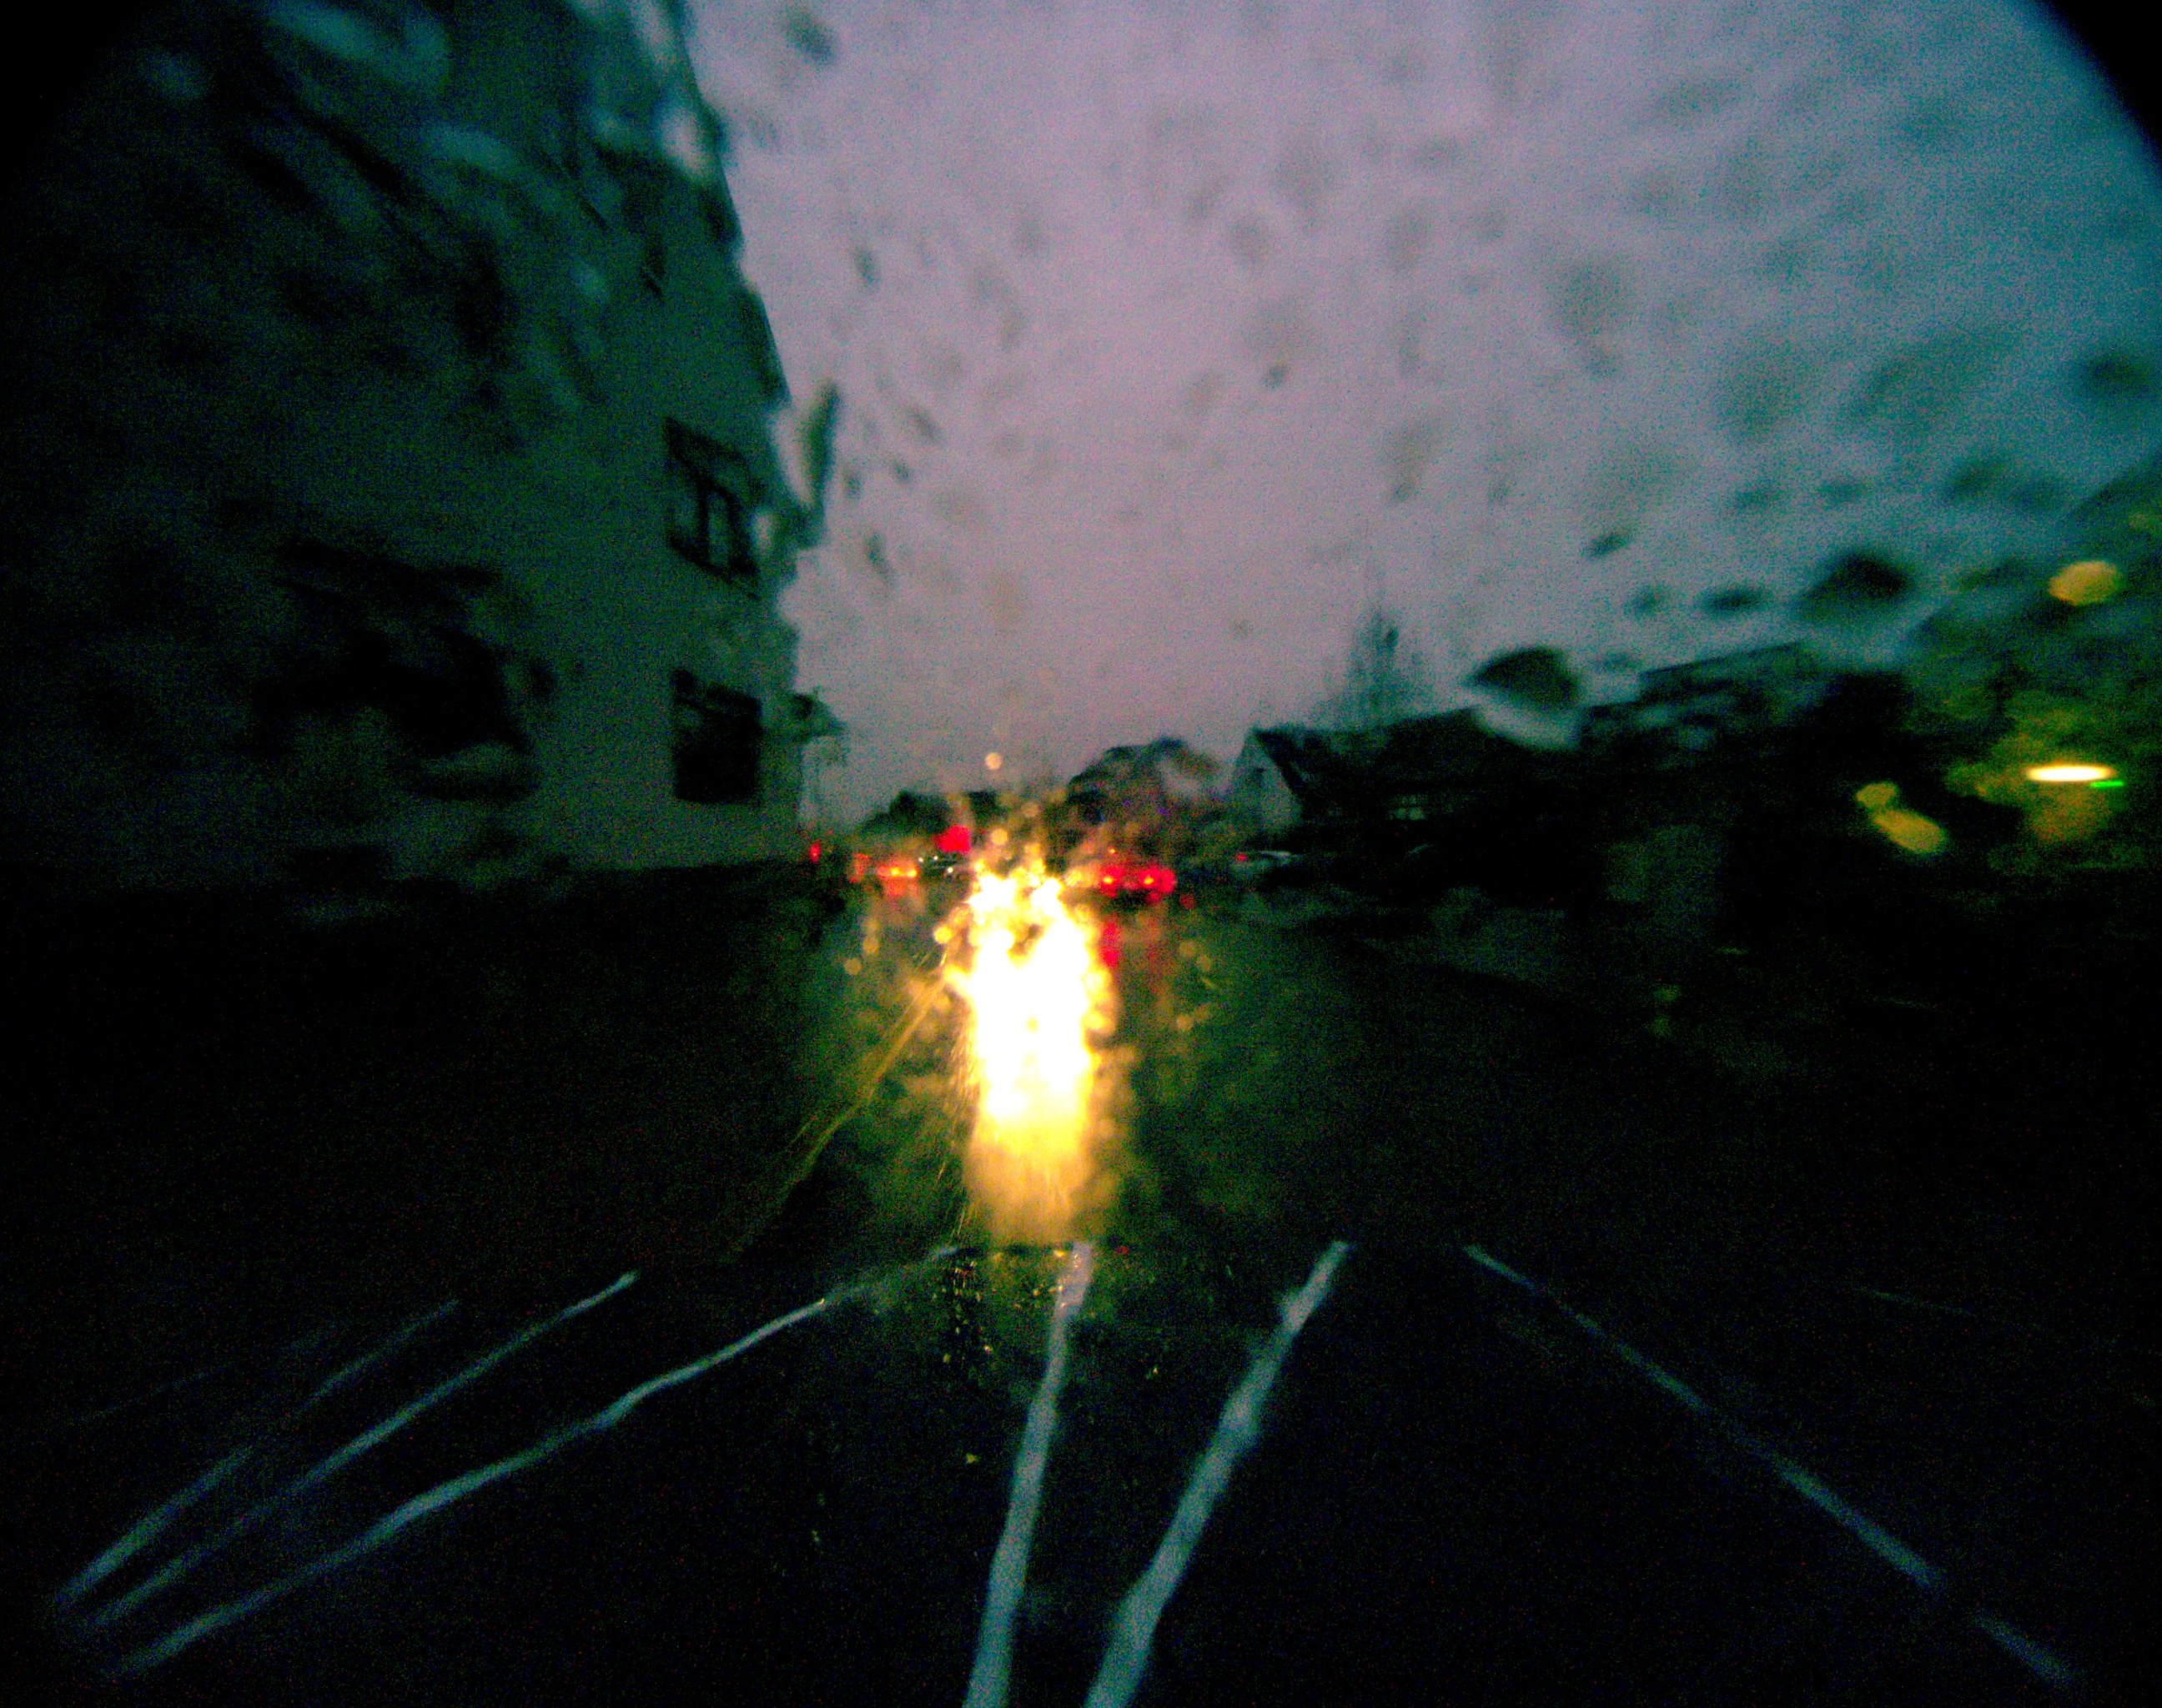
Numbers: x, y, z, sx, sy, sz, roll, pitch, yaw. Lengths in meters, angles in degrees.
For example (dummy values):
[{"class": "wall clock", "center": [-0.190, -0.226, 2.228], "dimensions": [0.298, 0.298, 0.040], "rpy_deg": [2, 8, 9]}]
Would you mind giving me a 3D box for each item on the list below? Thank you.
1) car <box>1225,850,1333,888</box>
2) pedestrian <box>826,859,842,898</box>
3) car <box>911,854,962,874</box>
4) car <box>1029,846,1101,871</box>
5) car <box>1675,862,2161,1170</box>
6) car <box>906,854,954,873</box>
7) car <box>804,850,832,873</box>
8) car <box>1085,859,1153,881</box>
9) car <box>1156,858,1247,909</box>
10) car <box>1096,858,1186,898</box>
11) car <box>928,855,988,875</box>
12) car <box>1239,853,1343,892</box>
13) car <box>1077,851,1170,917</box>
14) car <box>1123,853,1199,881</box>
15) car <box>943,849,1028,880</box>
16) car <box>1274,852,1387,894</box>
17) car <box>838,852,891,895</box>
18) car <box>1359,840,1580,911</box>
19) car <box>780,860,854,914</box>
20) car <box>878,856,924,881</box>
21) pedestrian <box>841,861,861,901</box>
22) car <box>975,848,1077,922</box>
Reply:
[{"class": "car", "center": [9.002, 0.665, 34.895], "dimensions": [4.648, 1.644, 1.989], "rpy_deg": [0, 1, 11]}, {"class": "pedestrian", "center": [-10.512, 1.034, 32.341], "dimensions": [0.582, 1.659, 0.790], "rpy_deg": [0, 0, -23]}, {"class": "car", "center": [-14.128, 0.941, 74.299], "dimensions": [4.524, 1.855, 1.864], "rpy_deg": [-1, 0, -29]}, {"class": "car", "center": [-1.108, 0.305, 52.302], "dimensions": [4.455, 1.623, 2.150], "rpy_deg": [-1, 1, -28]}, {"class": "car", "center": [6.367, 0.845, 4.800], "dimensions": [1.751, 1.463, 4.458], "rpy_deg": [-2, 0, 1]}, {"class": "car", "center": [-15.276, 0.970, 76.884], "dimensions": [4.434, 1.790, 1.840], "rpy_deg": [-1, 0, -29]}, {"class": "car", "center": [-30.312, 0.871, 87.518], "dimensions": [2.205, 2.476, 6.129], "rpy_deg": [-1, 0, -27]}, {"class": "car", "center": [2.922, 1.211, 58.118], "dimensions": [4.774, 1.625, 1.997], "rpy_deg": [1, -2, -19]}, {"class": "car", "center": [3.960, 0.926, 25.555], "dimensions": [1.840, 1.527, 3.672], "rpy_deg": [-2, 0, -11]}, {"class": "car", "center": [2.432, 0.967, 31.956], "dimensions": [1.913, 1.524, 4.247], "rpy_deg": [-1, 0, -25]}, {"class": "car", "center": [-11.019, 1.013, 68.081], "dimensions": [4.888, 1.673, 1.996], "rpy_deg": [-1, -1, -26]}, {"class": "car", "center": [8.782, 0.733, 32.061], "dimensions": [4.107, 1.573, 1.722], "rpy_deg": [0, 1, 11]}, {"class": "car", "center": [1.217, 0.863, 24.152], "dimensions": [2.148, 1.850, 4.740], "rpy_deg": [-1, 0, -7]}, {"class": "car", "center": [4.404, 0.714, 41.949], "dimensions": [4.069, 1.451, 1.758], "rpy_deg": [-1, 1, 6]}, {"class": "car", "center": [-6.883, 0.749, 54.634], "dimensions": [5.782, 1.934, 1.988], "rpy_deg": [-2, 0, -15]}, {"class": "car", "center": [9.510, 0.719, 29.274], "dimensions": [3.992, 1.521, 2.002], "rpy_deg": [-1, 0, 15]}, {"class": "car", "center": [-10.605, 0.915, 37.004], "dimensions": [1.981, 1.948, 4.843], "rpy_deg": [-1, 0, -22]}, {"class": "car", "center": [10.921, 0.567, 21.877], "dimensions": [5.386, 1.874, 2.077], "rpy_deg": [0, 0, 17]}, {"class": "car", "center": [-8.464, 0.980, 24.187], "dimensions": [1.742, 1.552, 3.655], "rpy_deg": [0, 0, -27]}, {"class": "car", "center": [-13.398, 1.053, 56.363], "dimensions": [1.955, 1.740, 4.838], "rpy_deg": [1, 0, -31]}, {"class": "pedestrian", "center": [-9.875, 1.161, 32.602], "dimensions": [0.716, 1.689, 0.802], "rpy_deg": [0, 0, -26]}, {"class": "car", "center": [-1.369, 0.691, 19.730], "dimensions": [2.270, 1.633, 5.064], "rpy_deg": [-1, 0, -3]}]
